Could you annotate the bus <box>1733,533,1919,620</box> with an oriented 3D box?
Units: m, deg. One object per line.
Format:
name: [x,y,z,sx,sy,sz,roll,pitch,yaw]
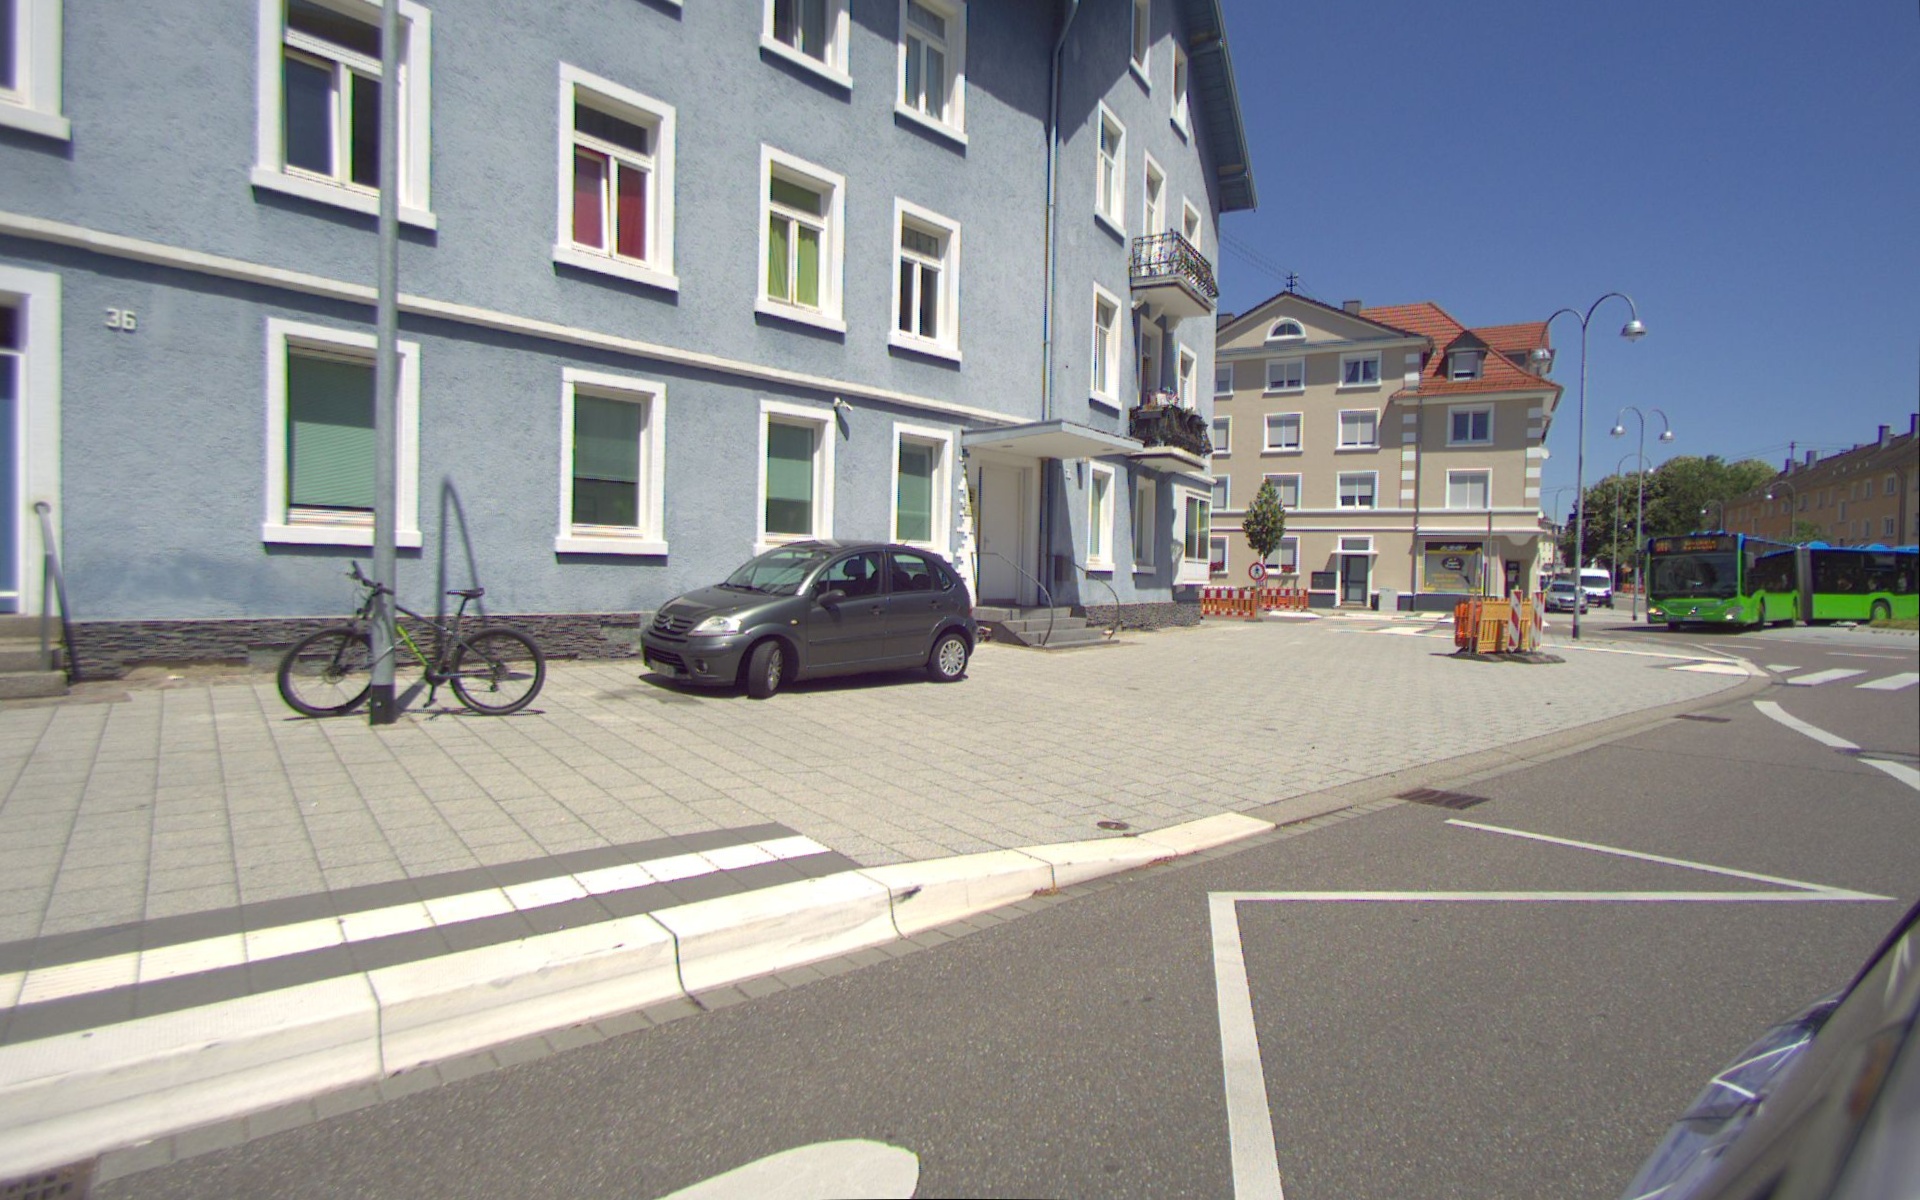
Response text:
bus: [36.041,-0.813,38.717,12.300,3.101,2.936,0,0,-12]

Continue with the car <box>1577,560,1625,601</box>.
car: [42.232,-1.280,66.797,2.323,2.486,5.674,4,3,30]

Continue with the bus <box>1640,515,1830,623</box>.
bus: [26.594,-0.889,34.355,12.346,3.119,2.907,0,0,-42]

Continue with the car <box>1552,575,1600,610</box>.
car: [29.369,-0.392,48.324,1.813,1.427,3.957,4,4,31]

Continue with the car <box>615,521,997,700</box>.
car: [-1.544,0.030,10.876,3.679,1.532,1.761,0,5,-44]

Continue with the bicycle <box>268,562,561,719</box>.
bicycle: [-4.026,0.287,7.605,1.844,1.051,0.635,1,4,-26]
